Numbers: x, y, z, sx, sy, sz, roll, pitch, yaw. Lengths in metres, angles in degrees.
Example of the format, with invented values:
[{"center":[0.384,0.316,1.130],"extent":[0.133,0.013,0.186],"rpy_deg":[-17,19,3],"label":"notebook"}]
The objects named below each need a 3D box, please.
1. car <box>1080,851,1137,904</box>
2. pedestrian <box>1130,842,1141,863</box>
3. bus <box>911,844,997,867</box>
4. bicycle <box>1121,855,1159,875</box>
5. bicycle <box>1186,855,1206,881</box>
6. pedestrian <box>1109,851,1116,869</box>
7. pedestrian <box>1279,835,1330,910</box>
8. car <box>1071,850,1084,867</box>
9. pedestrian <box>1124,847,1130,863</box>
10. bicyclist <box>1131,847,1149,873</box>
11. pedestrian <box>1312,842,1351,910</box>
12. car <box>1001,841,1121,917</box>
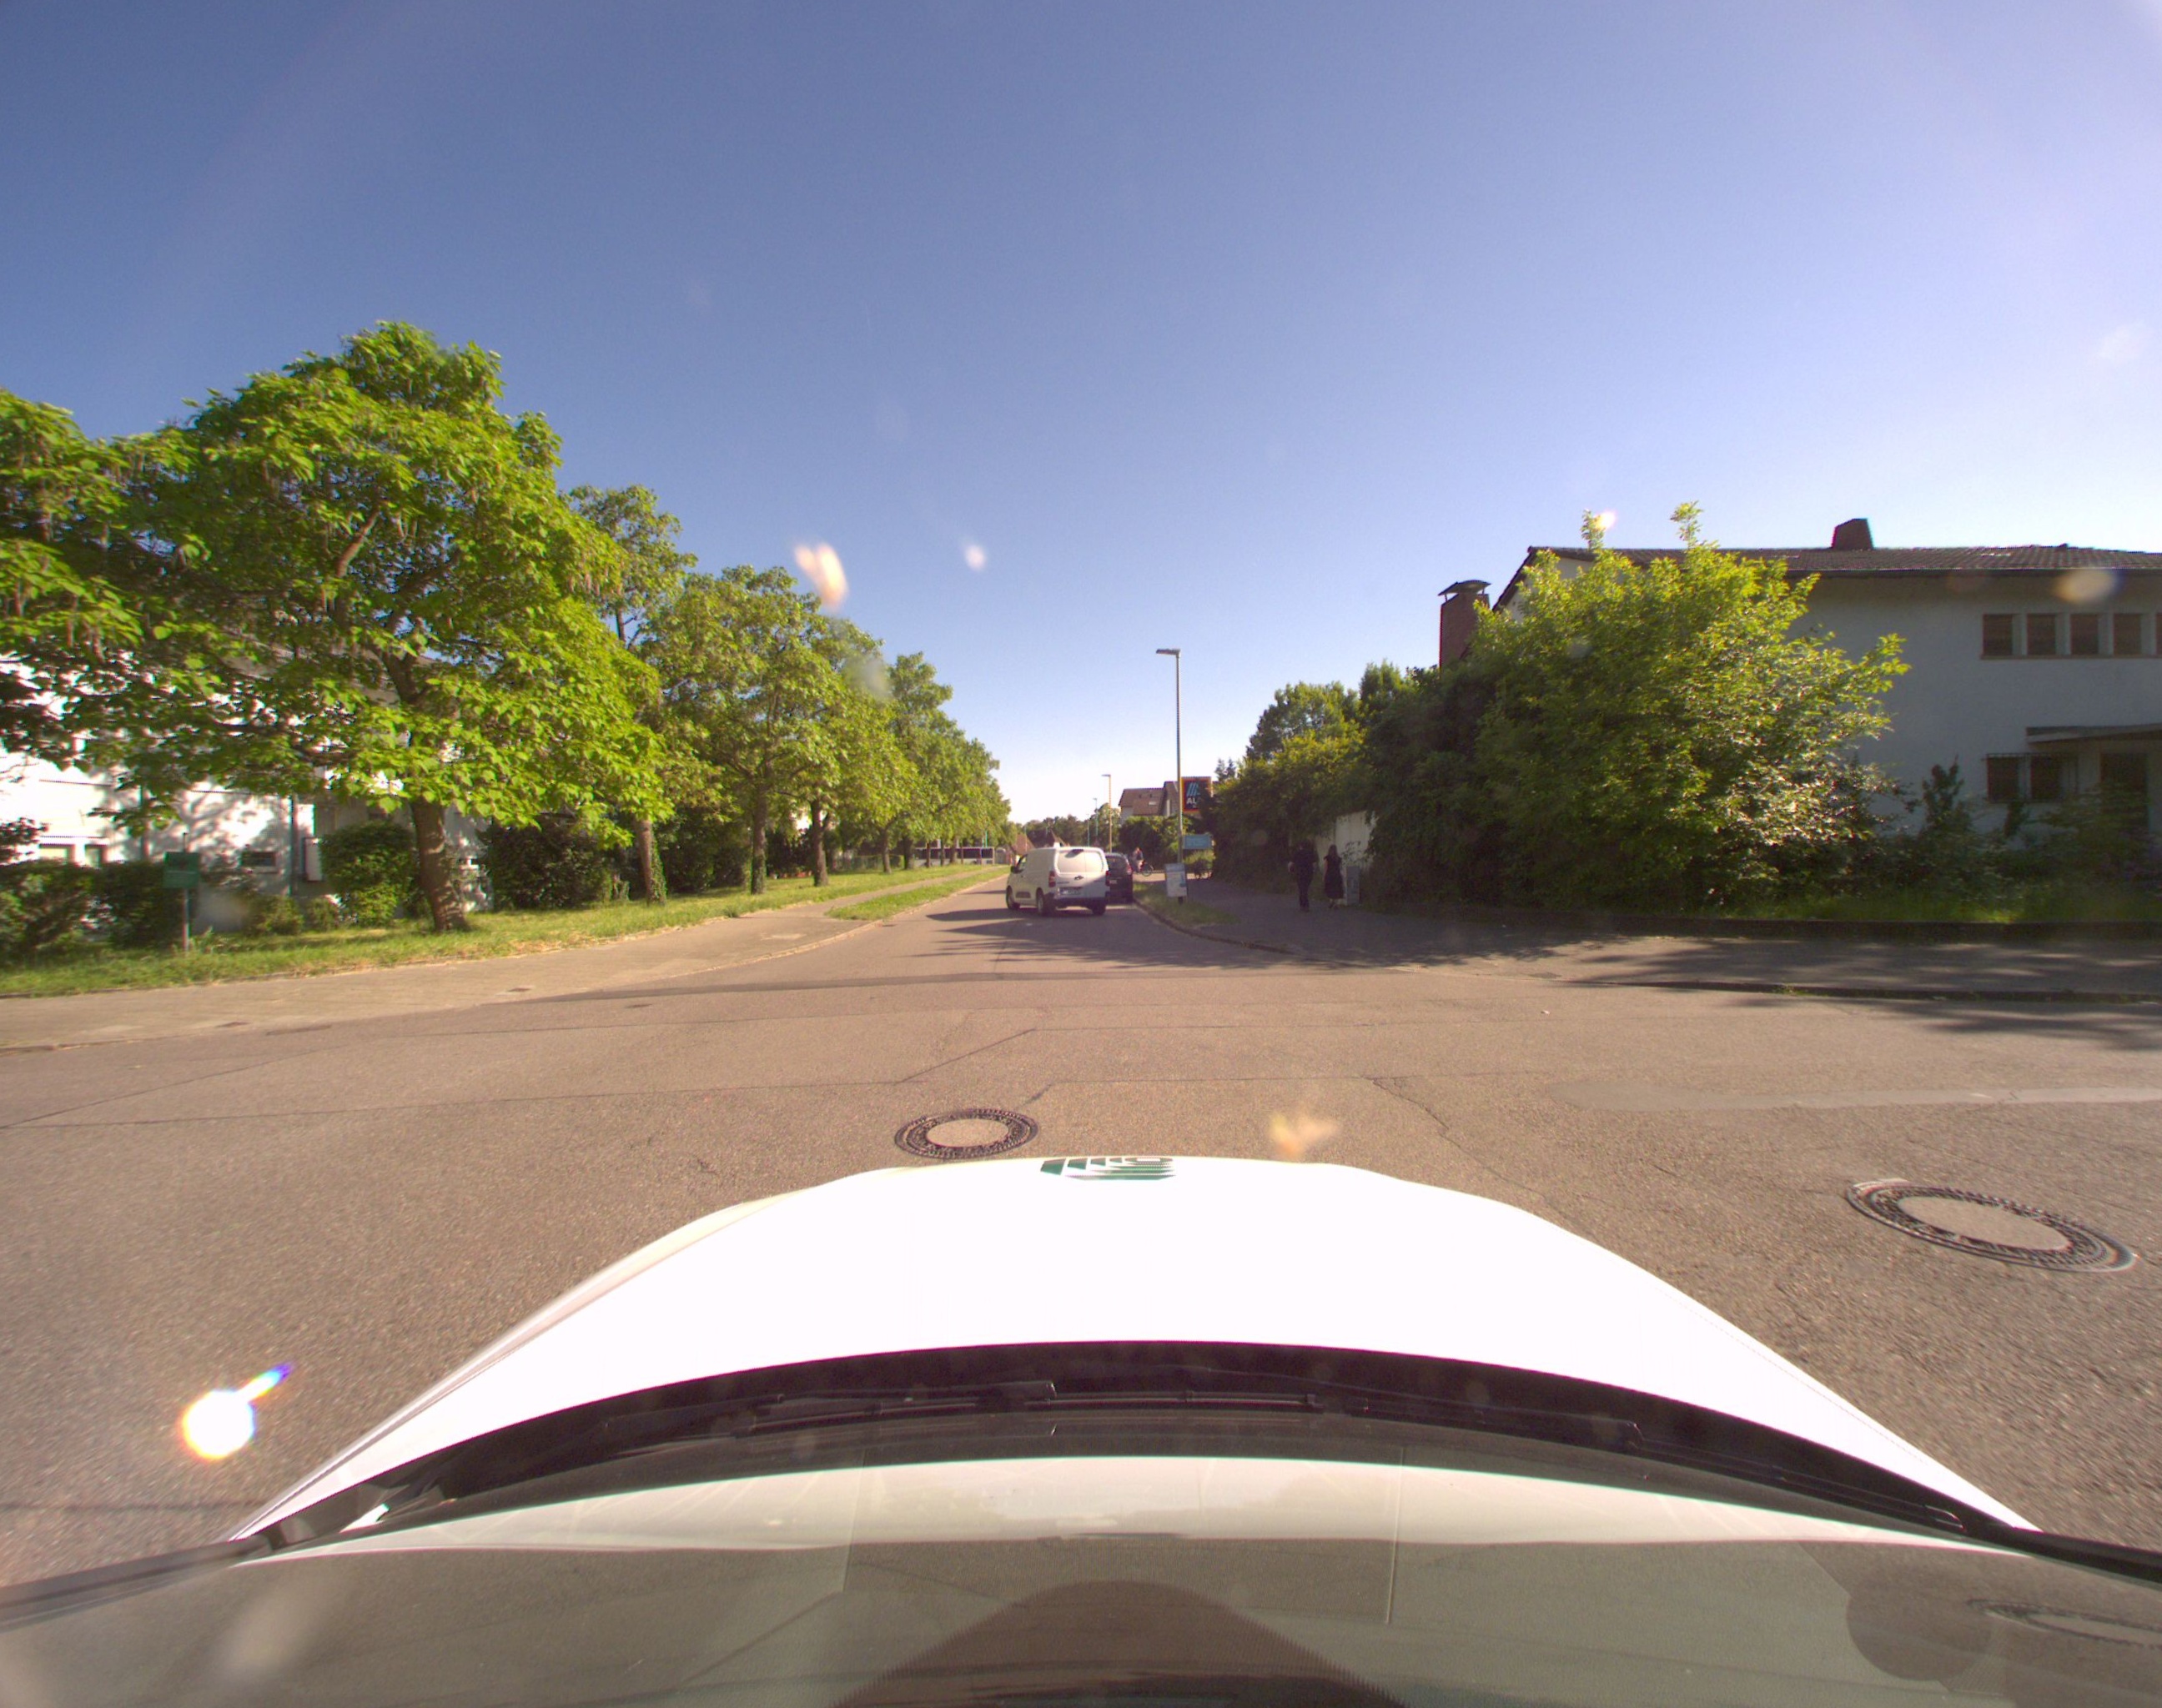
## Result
[{"center":[0.867,0.741,28.370],"extent":[1.720,1.656,4.350],"rpy_deg":[-1,0,-1],"label":"car"},{"center":[4.739,-0.123,70.764],"extent":[0.794,1.782,0.810],"rpy_deg":[-1,0,7],"label":"pedestrian"},{"center":[-16.535,0.202,106.176],"extent":[10.602,2.824,3.024],"rpy_deg":[-1,-1,-23],"label":"bus"},{"center":[3.653,0.684,50.627],"extent":[2.259,1.138,0.791],"rpy_deg":[-2,-1,9],"label":"bicycle"},{"center":[5.744,0.699,40.530],"extent":[0.715,1.221,1.903],"rpy_deg":[-3,-1,15],"label":"bicycle"},{"center":[2.984,0.557,77.092],"extent":[0.564,1.637,0.547],"rpy_deg":[-1,0,4],"label":"pedestrian"},{"center":[5.347,0.432,19.523],"extent":[0.802,1.717,0.982],"rpy_deg":[-3,-1,-5],"label":"pedestrian"},{"center":[-0.546,0.702,124.942],"extent":[1.862,2.562,4.763],"rpy_deg":[1,-1,-2],"label":"car"},{"center":[4.553,0.098,80.922],"extent":[0.564,1.637,0.547],"rpy_deg":[-1,0,4],"label":"pedestrian"},{"center":[3.669,0.384,50.611],"extent":[0.958,1.584,0.910],"rpy_deg":[-2,-1,9],"label":"bicyclist"},{"center":[6.101,0.537,19.847],"extent":[0.572,1.609,0.791],"rpy_deg":[-3,-1,-5],"label":"pedestrian"},{"center":[-0.671,0.646,22.894],"extent":[2.001,1.882,4.257],"rpy_deg":[-1,0,-22],"label":"car"}]
